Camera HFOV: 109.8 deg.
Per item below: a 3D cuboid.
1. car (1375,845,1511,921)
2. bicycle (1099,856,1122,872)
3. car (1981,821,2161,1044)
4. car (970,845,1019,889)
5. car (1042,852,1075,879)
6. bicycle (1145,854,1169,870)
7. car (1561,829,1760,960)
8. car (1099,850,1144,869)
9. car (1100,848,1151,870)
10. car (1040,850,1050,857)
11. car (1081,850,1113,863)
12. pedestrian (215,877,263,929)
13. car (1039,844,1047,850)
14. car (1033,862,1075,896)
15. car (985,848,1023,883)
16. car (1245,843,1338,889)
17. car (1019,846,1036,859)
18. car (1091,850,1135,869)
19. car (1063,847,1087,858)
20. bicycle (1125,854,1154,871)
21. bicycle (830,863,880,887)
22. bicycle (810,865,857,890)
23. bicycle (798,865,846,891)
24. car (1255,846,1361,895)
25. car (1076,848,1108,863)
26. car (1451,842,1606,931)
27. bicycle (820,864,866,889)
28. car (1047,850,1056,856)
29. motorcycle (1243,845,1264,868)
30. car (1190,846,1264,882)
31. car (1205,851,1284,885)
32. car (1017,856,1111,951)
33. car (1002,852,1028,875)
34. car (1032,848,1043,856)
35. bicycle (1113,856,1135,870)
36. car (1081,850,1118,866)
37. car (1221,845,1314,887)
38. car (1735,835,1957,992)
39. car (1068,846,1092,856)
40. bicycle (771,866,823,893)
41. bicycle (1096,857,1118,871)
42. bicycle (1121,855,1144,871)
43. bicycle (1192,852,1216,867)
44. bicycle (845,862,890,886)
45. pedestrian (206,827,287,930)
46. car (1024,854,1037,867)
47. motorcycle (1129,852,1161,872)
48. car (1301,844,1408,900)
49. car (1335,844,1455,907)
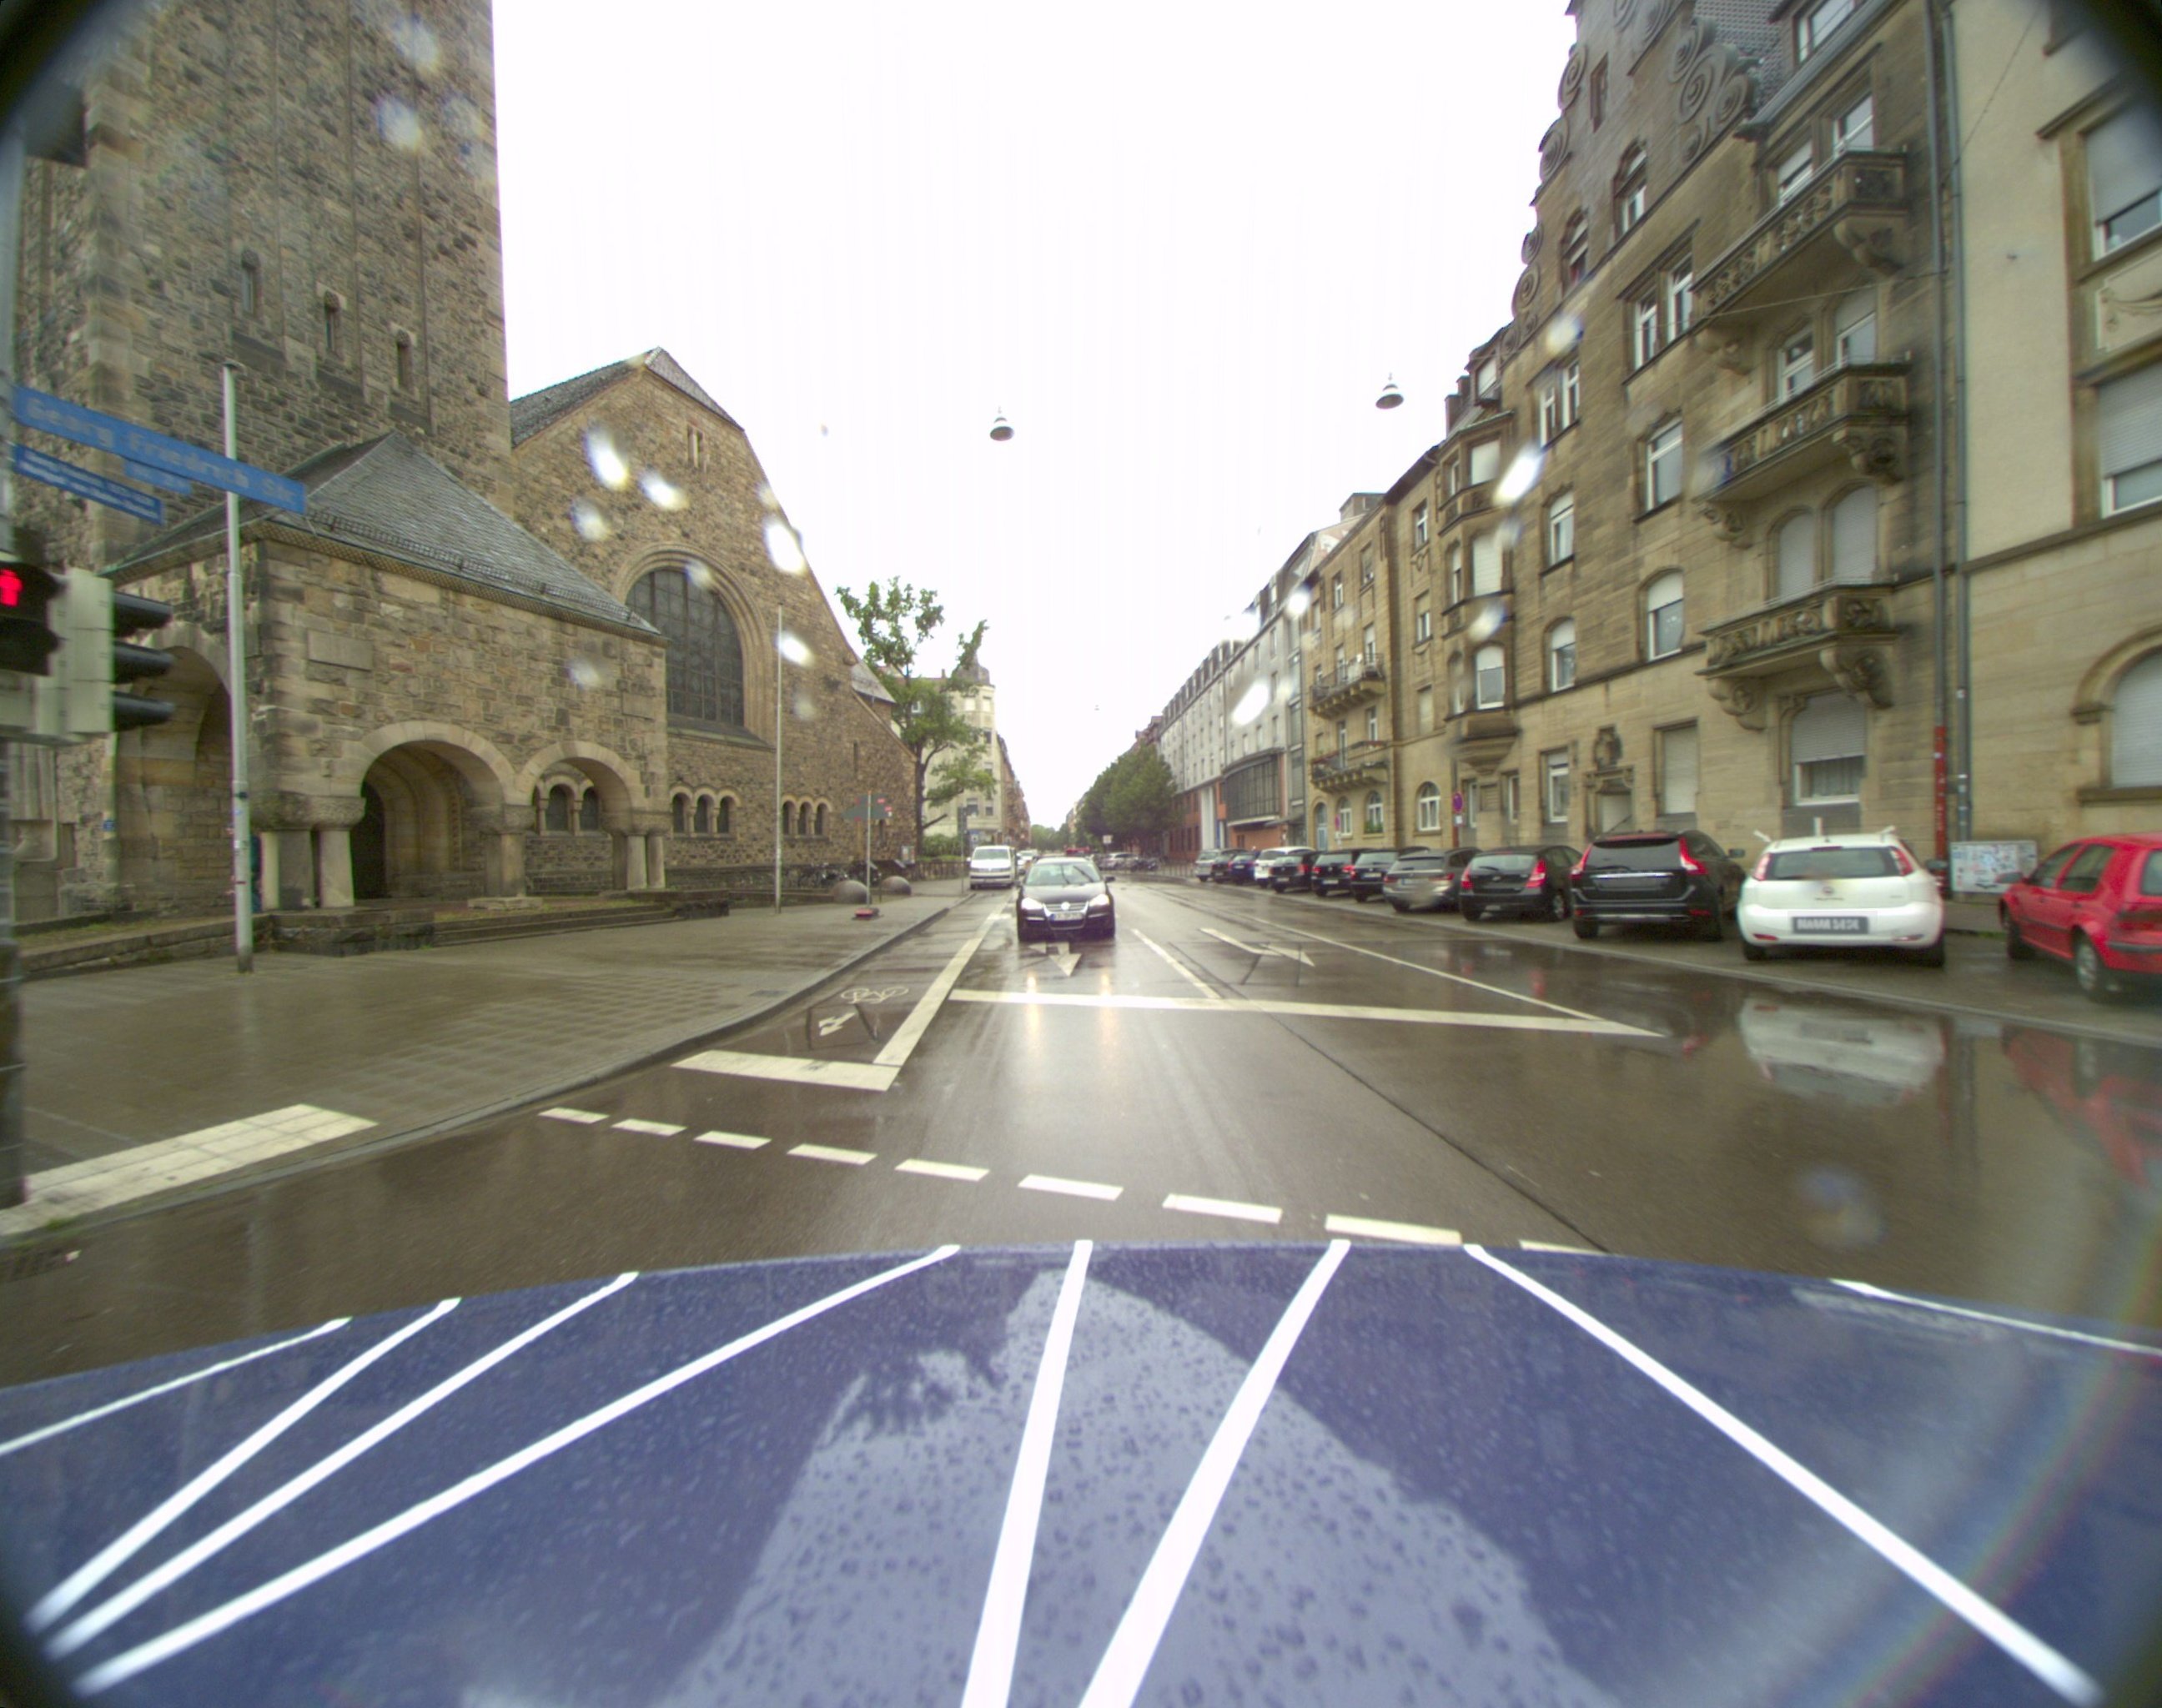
[{"bbox_3d":[8.787,0.644,18.359,3.436,1.535,1.696,-4,1,-42],"label":"car"},{"bbox_3d":[2.306,0.755,59.645,1.688,1.067,0.544,-6,1,-5],"label":"bicycle"},{"bbox_3d":[10.119,0.546,6.908,1.799,1.499,4.006,-5,1,40],"label":"car"},{"bbox_3d":[-4.000,0.549,35.852,1.909,1.911,5.271,-1,0,-2],"label":"car"},{"bbox_3d":[-1.319,0.642,43.725,1.766,1.430,3.747,-1,0,-2],"label":"car"},{"bbox_3d":[5.797,0.607,58.289,1.688,1.067,0.544,-4,1,-5],"label":"bicycle"},{"bbox_3d":[9.492,0.543,12.315,4.092,1.682,1.759,-4,1,-42],"label":"car"},{"bbox_3d":[3.770,0.499,71.095,3.803,1.705,1.998,-1,1,-13],"label":"car"},{"bbox_3d":[3.859,0.422,66.378,4.006,1.804,1.995,-1,1,-29],"label":"car"},{"bbox_3d":[-8.838,-0.206,187.045,1.998,1.705,4.375,-1,0,2],"label":"car"},{"bbox_3d":[2.079,0.337,98.953,3.803,1.705,1.904,-1,1,-13],"label":"car"},{"bbox_3d":[-14.731,0.843,13.298,0.455,0.879,0.397,-1,1,18],"label":"pedestrian"},{"bbox_3d":[-10.602,-1.900,210.002,1.838,1.827,4.000,-1,0,2],"label":"car"},{"bbox_3d":[-1.078,0.954,30.407,1.548,1.214,3.607,-1,0,-2],"label":"car"},{"bbox_3d":[-4.225,0.602,42.340,1.837,1.835,4.294,-1,0,-2],"label":"car"},{"bbox_3d":[8.600,0.470,30.952,3.734,1.617,1.774,-4,1,-40],"label":"car"},{"bbox_3d":[-6.138,-0.154,87.870,1.922,1.470,4.219,-1,0,-3],"label":"car"},{"bbox_3d":[3.108,0.519,74.142,3.803,1.705,1.998,-1,1,-13],"label":"car"},{"bbox_3d":[-0.979,-0.249,124.234,3.800,1.705,1.999,-1,1,-2],"label":"car"},{"bbox_3d":[4.392,0.645,57.270,2.049,1.165,0.773,-4,1,-5],"label":"bicycle"},{"bbox_3d":[-10.077,0.938,33.863,2.151,1.054,0.679,-1,1,19],"label":"bicycle"},{"bbox_3d":[-10.583,0.988,32.478,1.924,1.054,0.582,-1,1,19],"label":"bicycle"},{"bbox_3d":[-10.835,0.985,31.797,1.924,1.054,0.582,-1,1,17],"label":"bicycle"},{"bbox_3d":[8.314,0.575,27.677,3.733,1.535,1.774,-4,1,-37],"label":"car"},{"bbox_3d":[1.542,0.211,107.369,4.006,2.002,1.995,-1,1,-31],"label":"car"},{"bbox_3d":[9.193,0.604,15.524,3.316,1.516,1.697,-4,1,-41],"label":"car"},{"bbox_3d":[-10.394,0.980,33.147,1.924,1.054,0.582,-1,1,19],"label":"bicycle"},{"bbox_3d":[-7.861,-0.241,201.812,1.998,1.705,4.375,-1,0,2],"label":"car"},{"bbox_3d":[11.509,0.164,50.773,0.777,1.454,2.362,-1,0,-2],"label":"motorcycle"},{"bbox_3d":[7.620,0.486,39.444,3.931,1.720,1.811,-1,1,-44],"label":"car"},{"bbox_3d":[7.849,0.643,36.372,3.734,1.518,1.713,-1,1,-38],"label":"car"},{"bbox_3d":[-0.363,0.835,14.769,1.548,1.553,4.069,-1,0,-2],"label":"car"},{"bbox_3d":[-4.794,0.663,55.807,1.675,1.540,3.917,-1,0,-2],"label":"car"},{"bbox_3d":[-9.490,-0.475,165.544,1.998,1.705,3.802,-1,0,2],"label":"car"},{"bbox_3d":[3.532,0.715,61.958,1.688,1.067,0.544,-2,1,-5],"label":"bicycle"},{"bbox_3d":[2.136,0.473,87.001,3.803,1.705,1.998,-1,1,-13],"label":"car"},{"bbox_3d":[8.288,0.493,33.754,3.732,1.519,1.897,-5,3,-33],"label":"car"},{"bbox_3d":[9.911,0.608,9.782,4.001,1.524,1.700,-3,0,-42],"label":"car"},{"bbox_3d":[-0.255,-0.525,135.063,3.809,1.705,1.995,-1,1,-36],"label":"car"},{"bbox_3d":[-11.430,1.037,30.581,2.005,1.043,0.577,-1,1,15],"label":"bicycle"},{"bbox_3d":[2.161,0.819,62.843,1.688,1.067,0.544,1,1,-6],"label":"bicycle"},{"bbox_3d":[3.944,0.698,58.211,1.688,1.067,0.544,-4,1,-5],"label":"bicycle"},{"bbox_3d":[10.711,0.469,66.202,1.902,1.217,0.938,0,1,23],"label":"bicycle"},{"bbox_3d":[-9.738,0.928,34.593,1.978,1.060,0.607,-1,1,20],"label":"bicycle"},{"bbox_3d":[-14.087,0.401,12.837,0.633,1.693,0.679,-1,1,18],"label":"pedestrian"},{"bbox_3d":[-5.367,0.707,80.885,1.356,1.285,3.012,-1,0,-2],"label":"car"},{"bbox_3d":[4.748,0.586,56.316,2.256,1.302,0.758,-3,1,-2],"label":"motorcycle"},{"bbox_3d":[8.923,0.555,24.662,3.765,1.535,1.624,-4,1,-42],"label":"car"},{"bbox_3d":[9.064,0.586,21.835,3.450,1.535,1.624,-4,1,-38],"label":"car"}]
